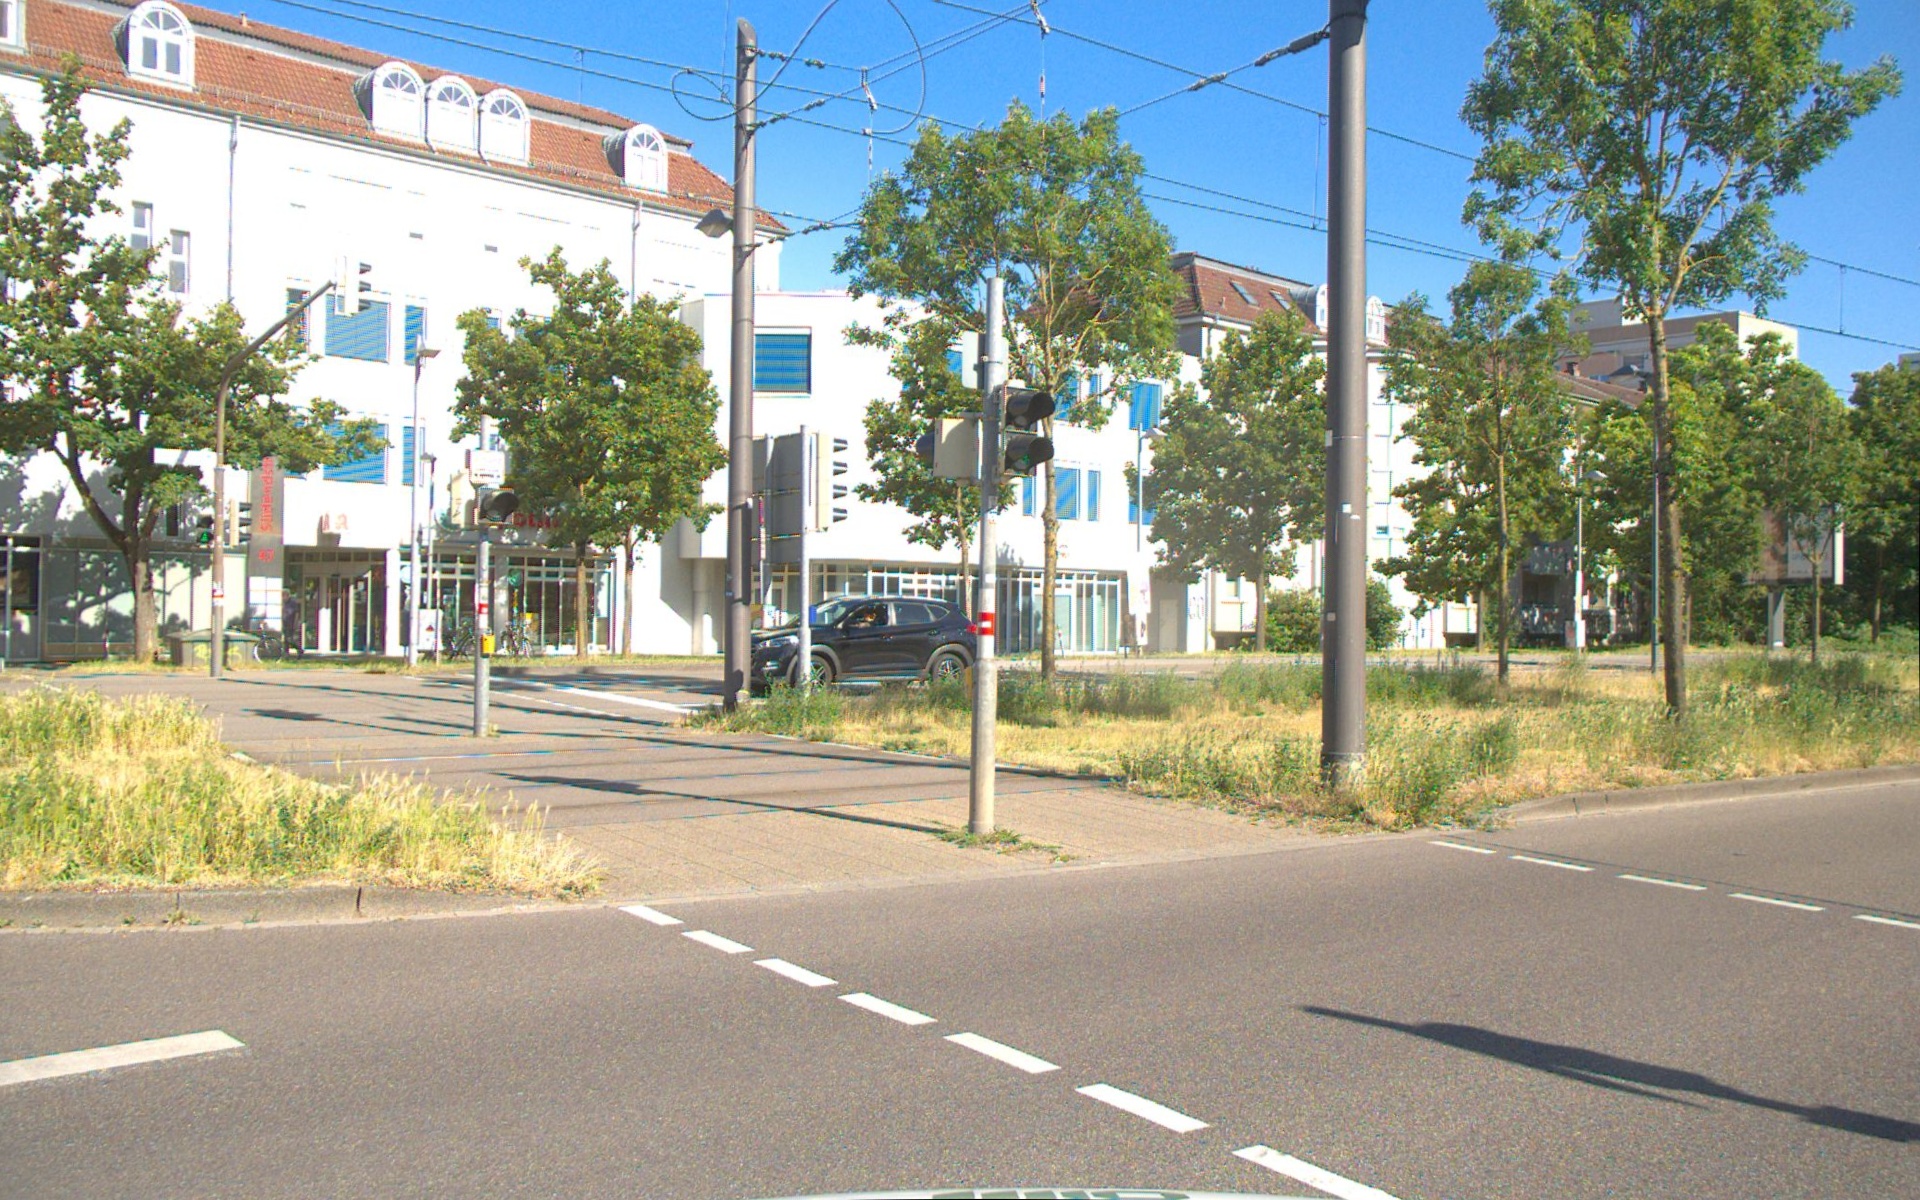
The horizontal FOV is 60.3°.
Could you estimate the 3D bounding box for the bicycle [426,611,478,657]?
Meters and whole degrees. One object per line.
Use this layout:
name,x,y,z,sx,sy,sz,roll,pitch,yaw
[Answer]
bicycle,-13.598,0.909,44.250,0.558,1.203,1.839,1,-1,-44

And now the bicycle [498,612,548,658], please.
bicycle,-11.969,0.943,45.232,0.557,1.203,1.841,1,-1,-41

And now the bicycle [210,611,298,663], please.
bicycle,-16.740,0.861,39.255,0.552,1.203,1.858,0,-1,42

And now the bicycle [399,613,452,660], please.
bicycle,-14.042,0.936,43.408,0.558,1.203,1.839,1,-1,-44

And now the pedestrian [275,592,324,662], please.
pedestrian,-16.828,0.682,42.146,0.985,1.753,0.643,1,-1,-45

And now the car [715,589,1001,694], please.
car,-1.681,0.670,27.854,4.461,1.638,1.976,1,-1,-34
